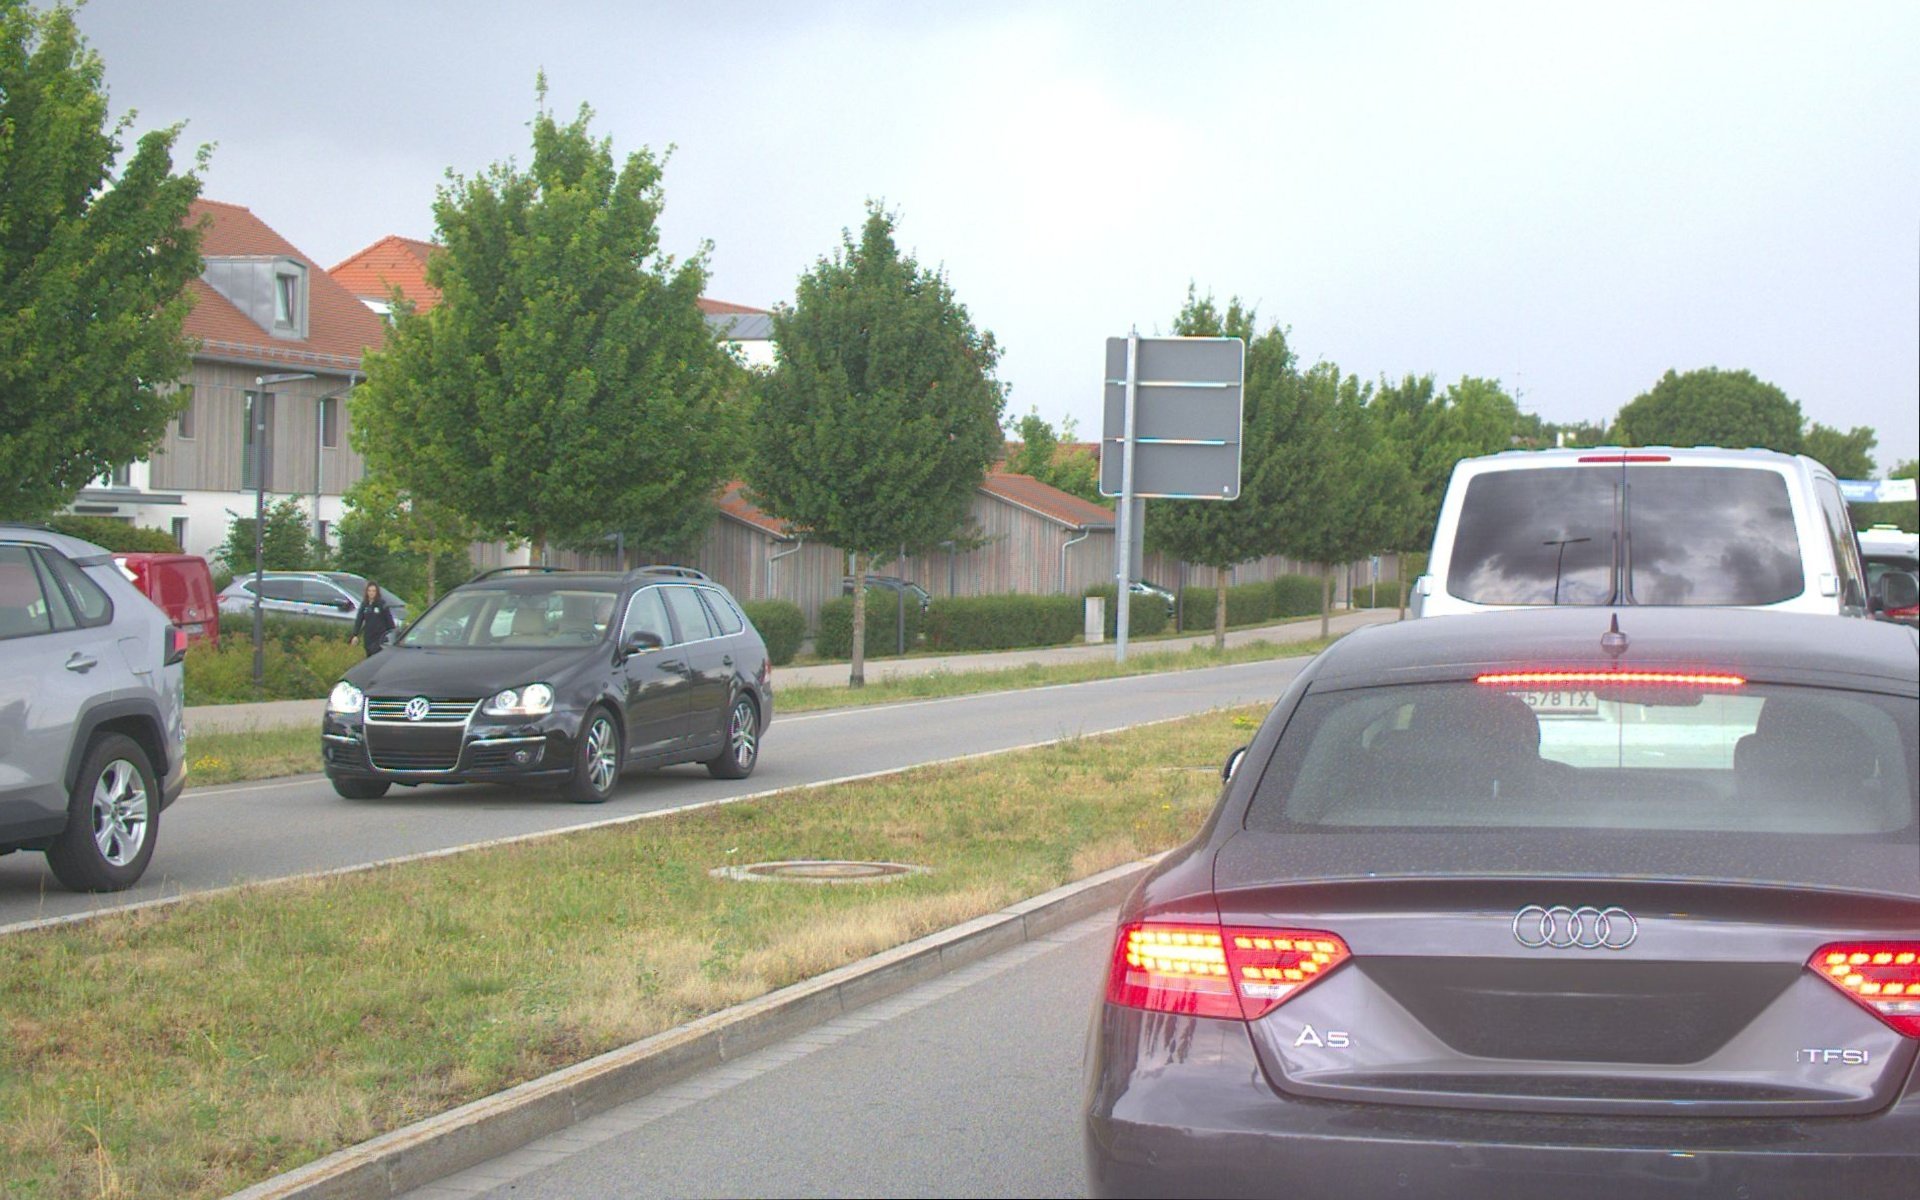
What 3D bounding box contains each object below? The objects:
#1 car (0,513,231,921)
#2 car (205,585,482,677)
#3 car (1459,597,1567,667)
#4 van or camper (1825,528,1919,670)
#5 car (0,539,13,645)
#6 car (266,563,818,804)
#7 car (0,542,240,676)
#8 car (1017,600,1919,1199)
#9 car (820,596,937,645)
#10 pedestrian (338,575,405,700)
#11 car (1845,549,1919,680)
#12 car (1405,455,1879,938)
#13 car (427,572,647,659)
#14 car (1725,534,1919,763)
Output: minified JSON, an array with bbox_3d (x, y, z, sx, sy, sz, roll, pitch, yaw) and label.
[{"bbox_3d":[-5.049,0.477,14.200,1.995,1.698,4.631,1,1,17],"label":"car"},{"bbox_3d":[-9.860,0.482,55.069,3.917,1.310,1.841,2,1,14],"label":"car"},{"bbox_3d":[12.297,0.689,76.299,1.731,1.405,4.202,2,1,18],"label":"car"},{"bbox_3d":[22.894,-0.002,85.120,2.627,3.312,6.816,2,0,15],"label":"van or camper"},{"bbox_3d":[-17.704,-0.173,56.198,1.996,1.766,4.460,2,0,21],"label":"car"},{"bbox_3d":[-2.597,0.487,22.529,1.755,1.411,4.451,-1,0,20],"label":"car"},{"bbox_3d":[-12.369,0.081,46.986,4.535,1.674,1.998,2,1,19],"label":"car"},{"bbox_3d":[1.449,0.720,7.056,1.785,1.387,4.130,0,1,14],"label":"car"},{"bbox_3d":[-1.860,0.455,78.745,2.473,1.025,1.185,2,1,11],"label":"car"},{"bbox_3d":[-7.494,0.471,43.809,0.582,1.553,0.659,2,1,14],"label":"pedestrian"},{"bbox_3d":[12.478,0.186,44.671,1.778,1.612,3.997,1,0,16],"label":"car"},{"bbox_3d":[3.219,0.367,15.869,1.868,1.927,3.998,-1,1,14],"label":"car"},{"bbox_3d":[-7.936,0.269,64.607,3.731,1.477,1.685,2,1,13],"label":"car"},{"bbox_3d":[7.029,0.337,26.888,1.778,1.612,3.997,2,1,16],"label":"car"}]
